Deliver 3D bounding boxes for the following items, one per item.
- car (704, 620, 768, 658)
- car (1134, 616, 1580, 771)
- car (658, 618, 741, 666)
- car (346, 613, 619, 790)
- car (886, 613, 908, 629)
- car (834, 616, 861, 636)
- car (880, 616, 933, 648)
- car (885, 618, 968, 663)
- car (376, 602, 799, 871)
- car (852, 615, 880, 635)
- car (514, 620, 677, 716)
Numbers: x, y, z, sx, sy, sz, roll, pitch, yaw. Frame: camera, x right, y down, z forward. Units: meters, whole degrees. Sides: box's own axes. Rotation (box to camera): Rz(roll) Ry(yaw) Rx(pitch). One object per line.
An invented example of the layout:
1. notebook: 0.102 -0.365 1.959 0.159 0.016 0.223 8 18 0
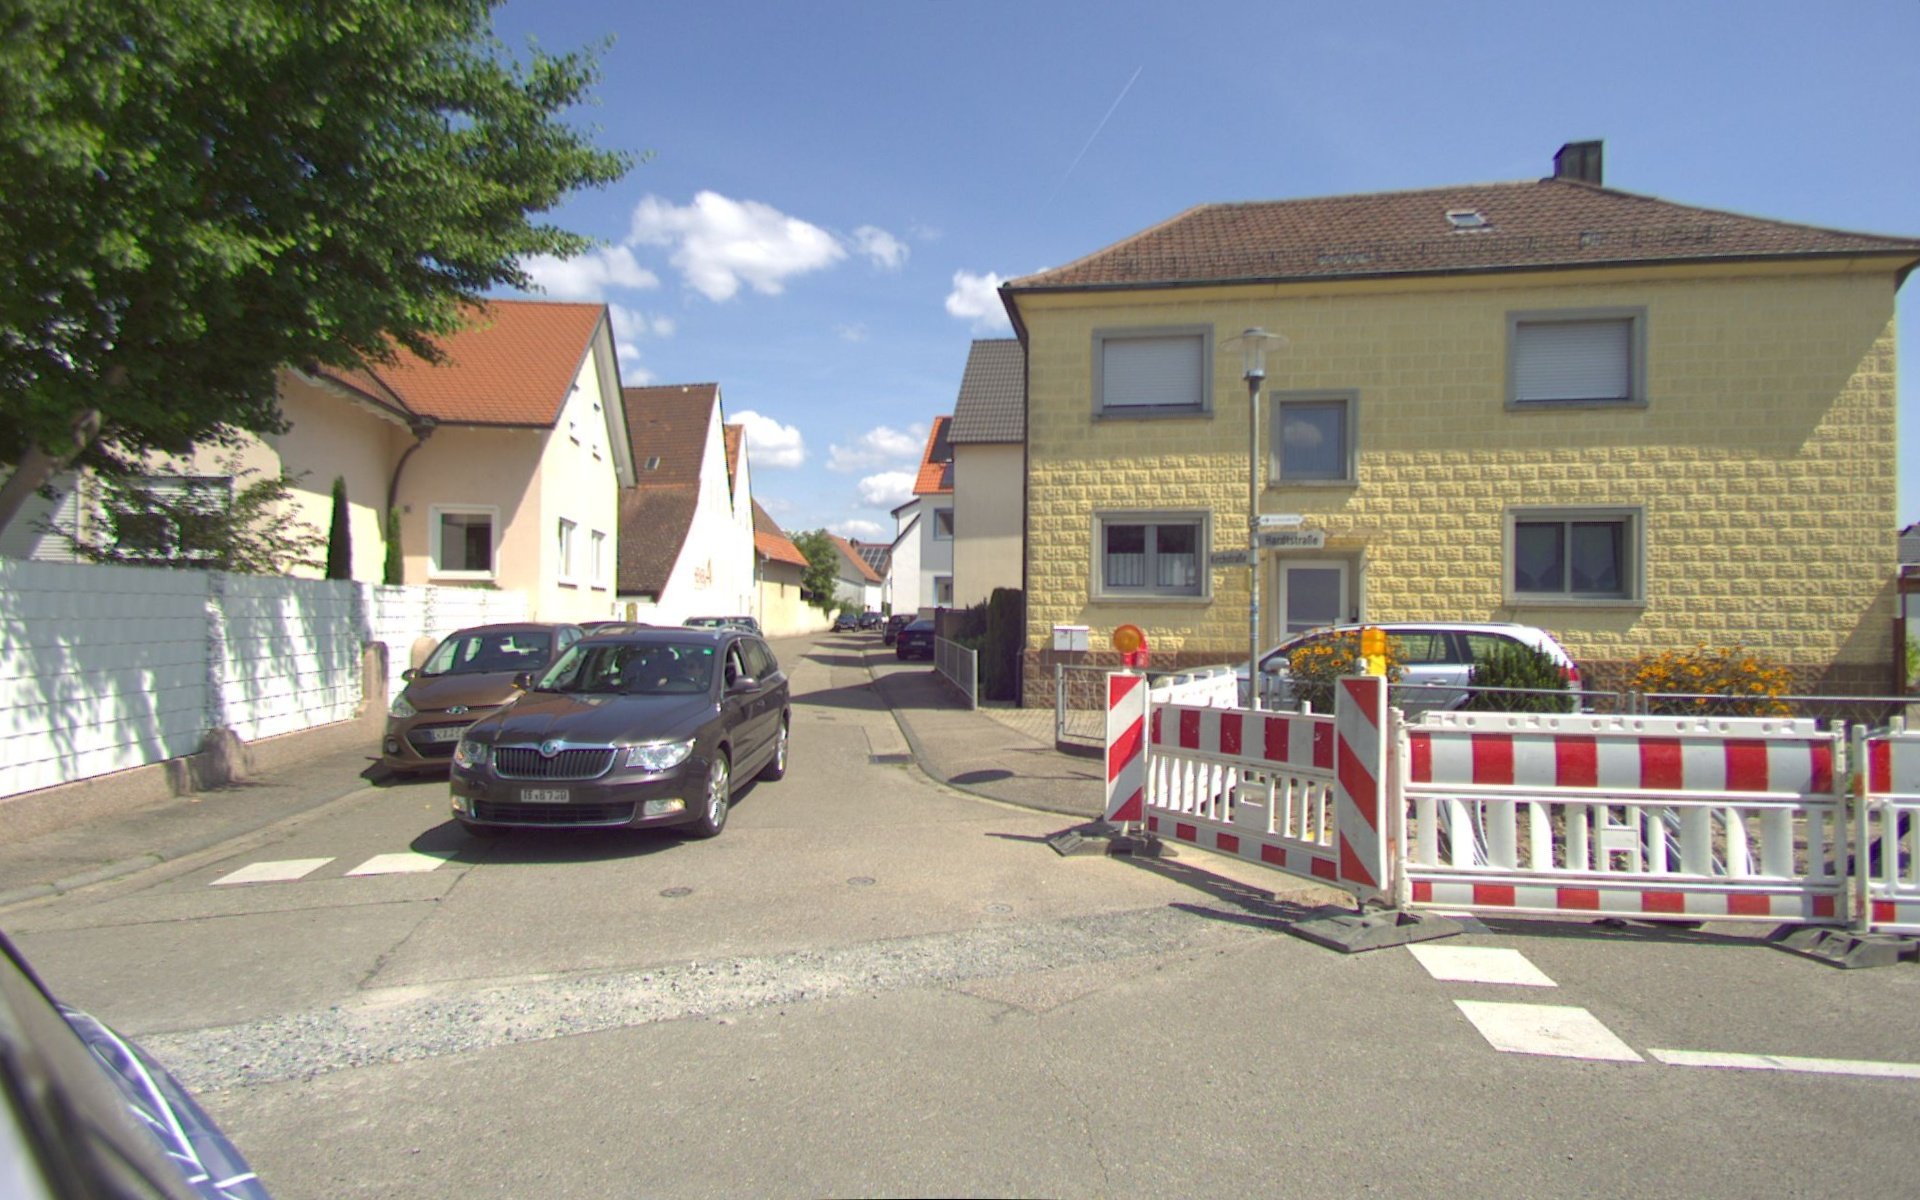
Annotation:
1. car: -8.836 1.514 40.221 1.873 1.375 4.419 0 -1 -5
2. car: 4.392 0.950 11.664 4.444 1.496 1.778 0 -1 23
3. car: -8.131 1.274 32.000 1.872 1.375 4.744 0 -1 -6
4. car: -5.136 0.962 11.496 1.690 1.544 4.043 -3 0 -9
5. car: -6.680 2.212 107.795 1.763 1.512 4.033 -2 -1 4
6. car: -8.644 1.995 78.213 1.760 1.490 4.002 1 -1 -2
7. car: -2.499 1.510 48.215 1.625 1.466 3.773 -1 -1 11
8. car: -1.057 1.345 34.534 1.757 1.360 4.451 -1 0 13
9. car: -2.539 0.899 8.258 1.761 1.547 4.710 1 -3 -1
10. car: -8.084 2.150 87.383 1.763 1.621 3.994 -2 -1 4
11. car: -6.307 1.101 18.051 1.871 1.439 4.746 0 -1 -9
